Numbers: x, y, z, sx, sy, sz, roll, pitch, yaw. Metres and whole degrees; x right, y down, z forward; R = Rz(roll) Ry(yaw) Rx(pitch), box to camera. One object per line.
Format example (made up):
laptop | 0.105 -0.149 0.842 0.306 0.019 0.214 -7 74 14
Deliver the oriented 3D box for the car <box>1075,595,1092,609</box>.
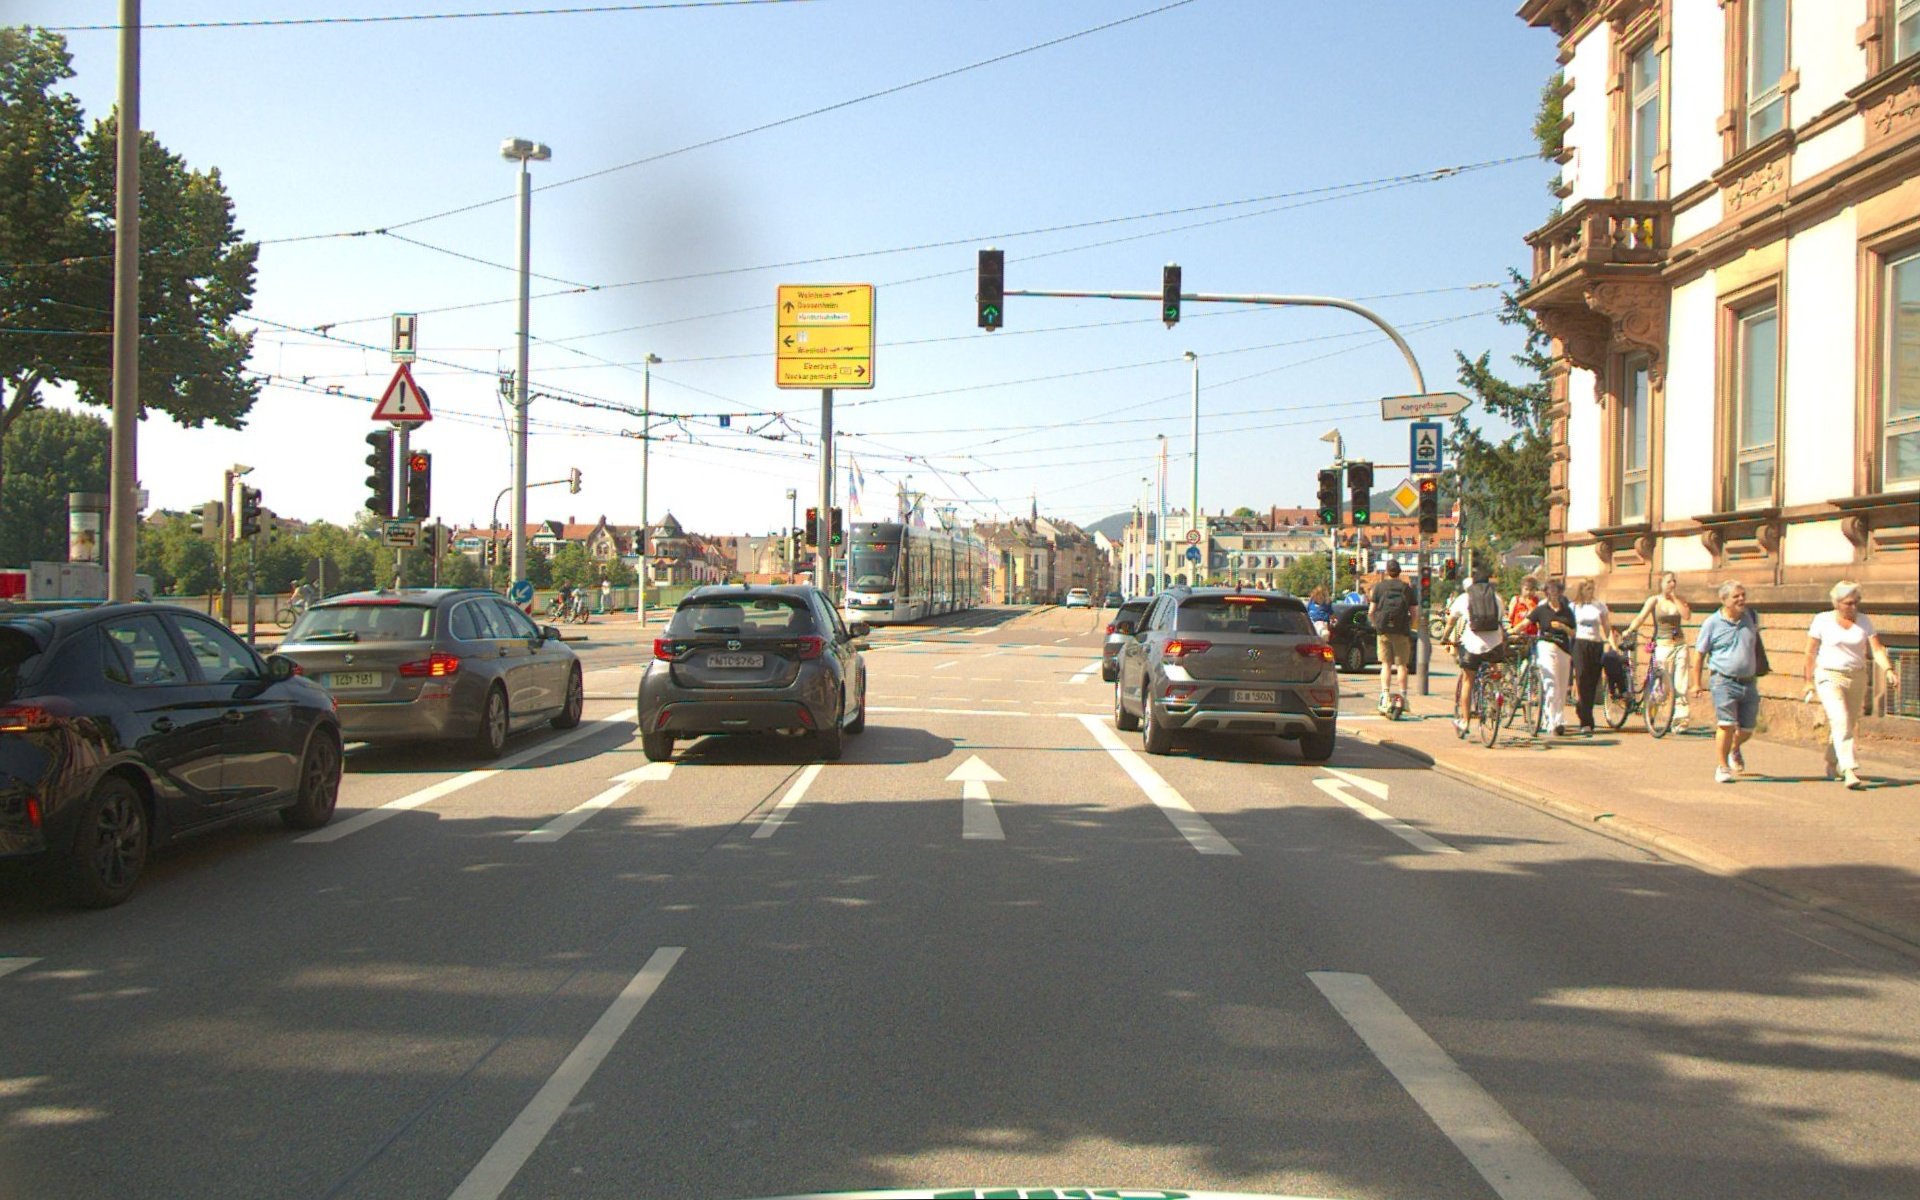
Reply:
car | 15.445 0.285 207.090 1.952 1.747 4.001 1 0 2

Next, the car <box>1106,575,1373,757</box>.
car | 2.643 0.557 16.562 1.890 1.542 3.992 2 1 -1

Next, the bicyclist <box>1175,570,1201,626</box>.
bicyclist | 7.273 -0.066 52.766 0.659 1.774 1.150 0 0 0

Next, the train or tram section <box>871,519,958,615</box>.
train or tram section | -1.833 -1.415 71.019 2.483 3.843 9.177 0 1 6

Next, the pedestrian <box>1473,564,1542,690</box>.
pedestrian | 7.940 0.377 24.015 0.691 1.800 0.903 0 0 -2

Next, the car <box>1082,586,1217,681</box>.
car | 3.218 0.530 28.815 1.952 1.512 4.000 0 1 1

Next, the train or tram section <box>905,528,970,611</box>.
train or tram section | -0.990 -1.483 79.976 2.353 3.745 9.625 0 1 4

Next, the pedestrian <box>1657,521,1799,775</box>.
pedestrian | 6.395 0.385 13.807 0.795 2.049 0.815 0 0 -1

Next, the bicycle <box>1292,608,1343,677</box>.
bicycle | 6.607 0.755 30.620 0.602 1.185 2.251 1 1 4

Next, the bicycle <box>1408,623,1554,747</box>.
bicycle | 5.257 0.823 16.832 0.763 1.121 2.138 0 1 -2

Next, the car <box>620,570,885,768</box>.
car | -1.791 0.543 15.539 1.870 1.567 4.001 -1 1 1

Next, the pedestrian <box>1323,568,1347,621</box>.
pedestrian | 13.604 -0.190 60.009 0.757 1.888 0.645 1 1 7

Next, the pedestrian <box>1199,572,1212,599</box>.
pedestrian | 16.491 -0.948 111.081 0.641 1.774 0.978 1 1 0

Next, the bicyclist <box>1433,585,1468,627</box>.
bicyclist | 17.878 0.210 60.266 1.059 1.499 0.761 3 1 28

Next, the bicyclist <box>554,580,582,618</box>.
bicyclist | -15.273 -0.042 64.438 0.987 1.474 0.812 0 0 -17

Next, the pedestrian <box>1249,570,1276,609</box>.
pedestrian | 13.862 -0.477 75.811 0.965 1.800 1.254 0 0 -1

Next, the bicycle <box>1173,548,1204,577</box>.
bicycle | 9.223 -1.517 66.943 0.776 1.115 3.745 0 0 0

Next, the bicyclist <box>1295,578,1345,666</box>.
bicyclist | 6.615 0.388 30.471 0.758 1.580 1.060 1 1 5

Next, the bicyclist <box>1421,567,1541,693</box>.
bicyclist | 5.275 0.292 16.788 0.902 1.241 0.972 0 1 -1

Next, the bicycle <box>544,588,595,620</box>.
bicycle | -15.400 0.142 65.238 1.938 1.230 0.636 0 0 -18

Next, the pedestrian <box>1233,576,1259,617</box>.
pedestrian | 12.784 -0.157 73.895 0.965 1.781 0.929 1 0 -1

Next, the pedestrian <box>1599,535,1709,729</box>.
pedestrian | 7.578 0.335 18.091 0.795 2.048 0.815 -2 0 -1

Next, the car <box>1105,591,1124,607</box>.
car | 14.689 -0.051 157.066 1.765 1.494 4.003 -1 0 7

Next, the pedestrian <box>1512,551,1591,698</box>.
pedestrian | 8.049 0.317 22.554 0.622 1.924 0.903 3 1 -2

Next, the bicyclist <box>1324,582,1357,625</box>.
bicyclist | 13.599 0.111 59.112 1.057 1.499 0.801 2 1 9

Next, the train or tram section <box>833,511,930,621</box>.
train or tram section | -2.832 -1.280 62.355 2.484 3.843 9.176 0 1 5

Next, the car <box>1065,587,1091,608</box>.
car | 8.657 -0.182 121.671 1.766 1.494 4.001 -1 0 2

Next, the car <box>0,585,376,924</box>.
car | -4.772 0.643 9.039 1.756 1.436 4.000 0 1 0

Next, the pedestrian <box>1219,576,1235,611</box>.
pedestrian | 13.635 -0.344 84.575 0.681 1.746 0.731 1 0 -1

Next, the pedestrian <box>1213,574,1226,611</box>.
pedestrian | 13.158 -0.373 83.846 0.538 1.830 0.646 1 0 -1

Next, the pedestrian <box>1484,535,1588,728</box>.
pedestrian | 6.358 0.335 18.302 0.795 2.048 0.815 -2 0 -1

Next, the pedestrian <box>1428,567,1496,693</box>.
pedestrian | 7.228 0.427 23.842 0.691 1.783 0.903 0 -1 -2

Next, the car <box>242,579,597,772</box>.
car | -4.827 0.575 15.554 1.712 1.512 4.748 -1 1 1

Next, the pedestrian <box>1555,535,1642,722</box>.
pedestrian | 7.204 0.314 18.681 0.647 2.048 0.699 -2 0 -1

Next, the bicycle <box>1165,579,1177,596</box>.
bicycle | 15.383 -0.879 120.553 0.681 1.214 2.079 0 -1 1

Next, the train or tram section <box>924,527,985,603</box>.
train or tram section | -0.175 -1.888 89.966 2.418 3.843 11.857 0 1 4

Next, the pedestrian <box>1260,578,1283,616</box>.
pedestrian | 13.881 -0.147 73.694 0.783 1.663 0.949 1 0 -1

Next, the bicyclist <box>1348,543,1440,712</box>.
bicyclist | 5.377 0.327 20.526 0.922 2.049 0.830 0 0 -1

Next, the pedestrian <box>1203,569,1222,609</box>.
pedestrian | 13.095 -0.578 85.892 0.787 2.049 0.954 1 0 -1

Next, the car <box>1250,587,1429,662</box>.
car | 8.235 0.485 35.718 1.967 1.461 3.972 2 2 45

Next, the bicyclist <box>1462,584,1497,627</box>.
bicyclist | 18.927 0.206 60.274 1.057 1.499 0.929 2 1 13

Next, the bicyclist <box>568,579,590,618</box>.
bicyclist | -15.062 -0.057 65.399 0.811 1.519 0.872 0 0 -17

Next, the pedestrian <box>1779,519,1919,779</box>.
pedestrian | 7.263 0.380 13.448 0.795 2.049 0.815 -1 0 -1

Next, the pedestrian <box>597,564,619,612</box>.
pedestrian | -15.183 -0.534 71.367 0.884 2.049 0.830 0 0 -17

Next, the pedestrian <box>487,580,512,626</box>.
pedestrian | -17.390 0.113 62.430 0.822 1.726 1.091 0 0 -20

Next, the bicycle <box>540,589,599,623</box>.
bicycle | -15.217 0.242 64.426 2.202 1.301 0.737 0 0 -18
